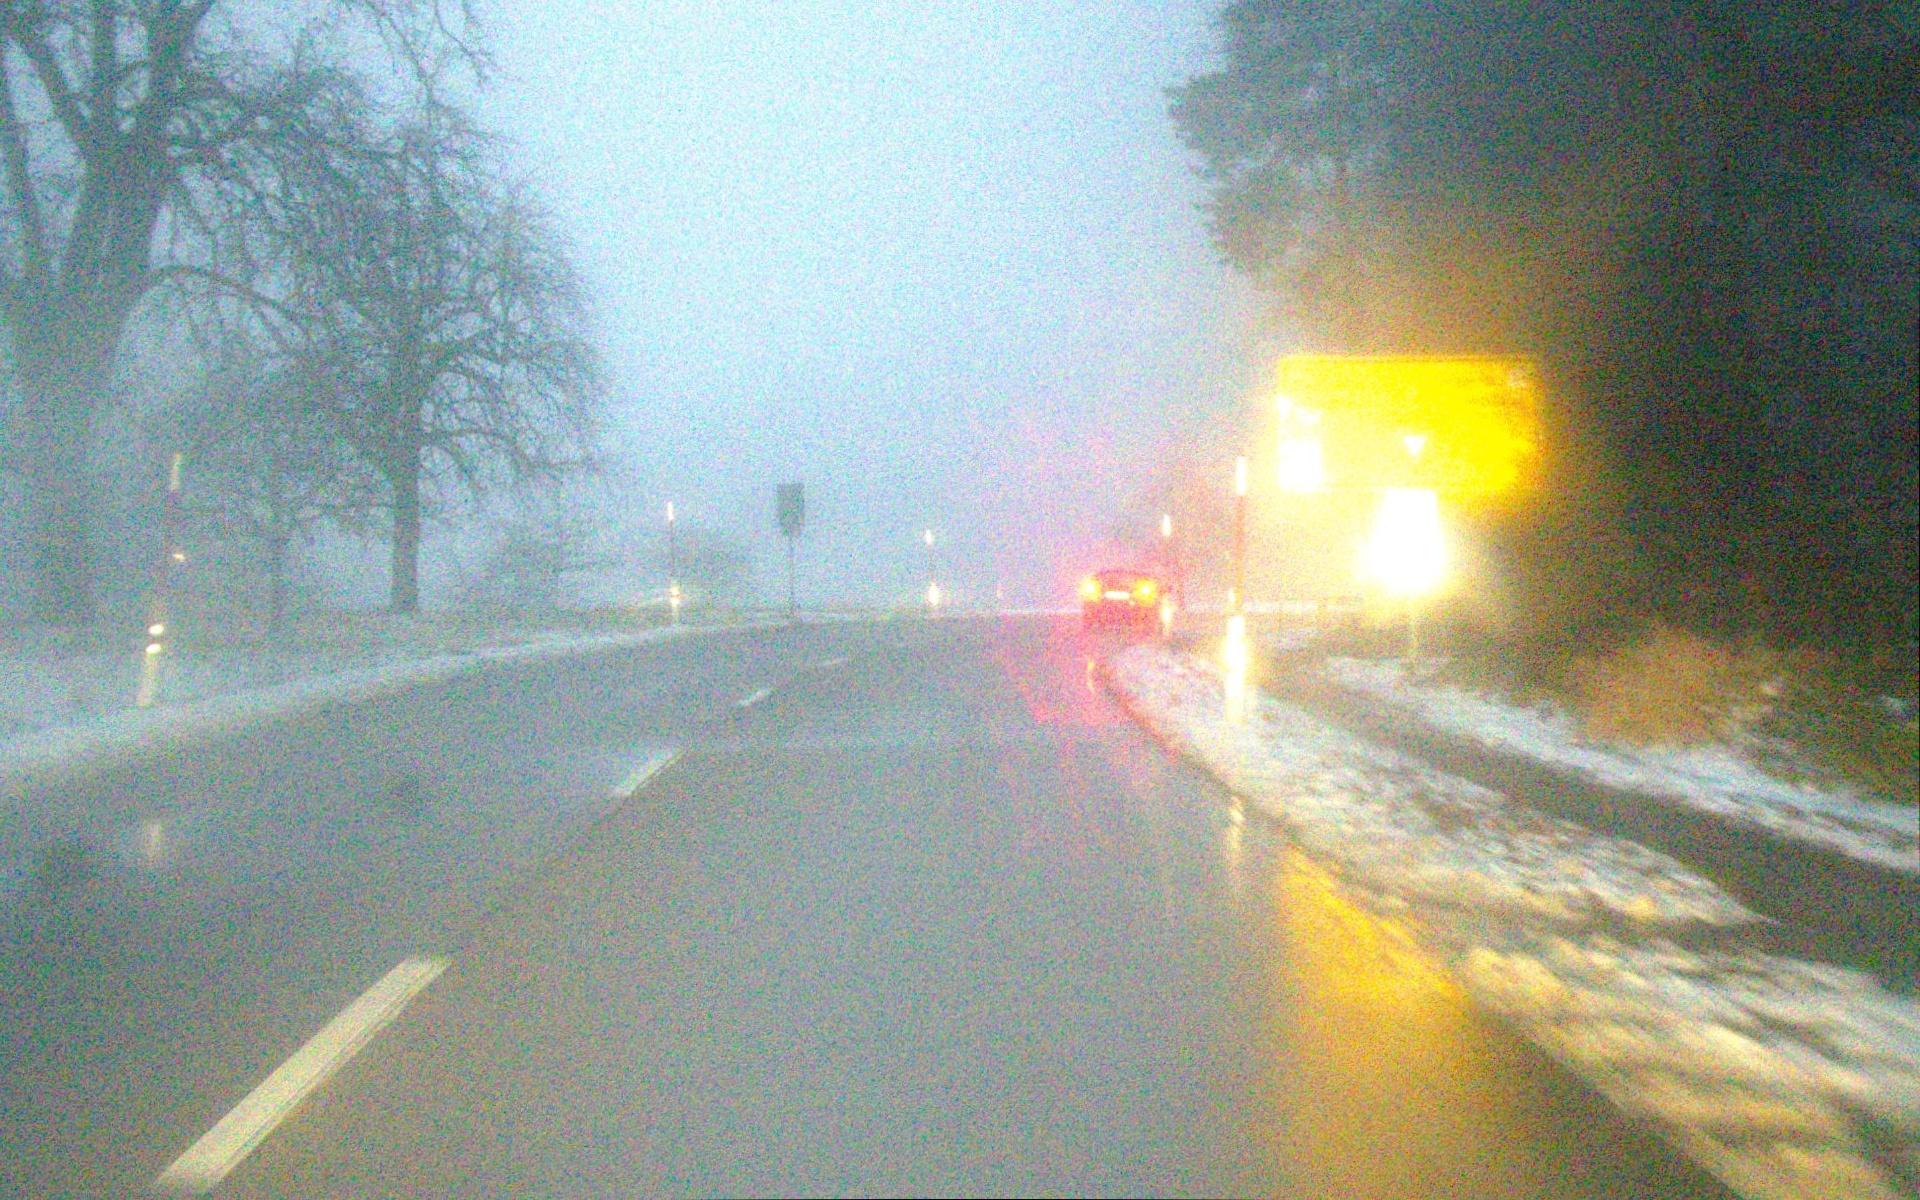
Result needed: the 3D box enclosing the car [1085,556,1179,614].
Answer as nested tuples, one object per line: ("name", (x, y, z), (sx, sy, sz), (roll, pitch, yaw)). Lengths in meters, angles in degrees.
("car", (4.075, -0.375, 81.059), (1.922, 1.272, 3.999), (0, 2, 7))
